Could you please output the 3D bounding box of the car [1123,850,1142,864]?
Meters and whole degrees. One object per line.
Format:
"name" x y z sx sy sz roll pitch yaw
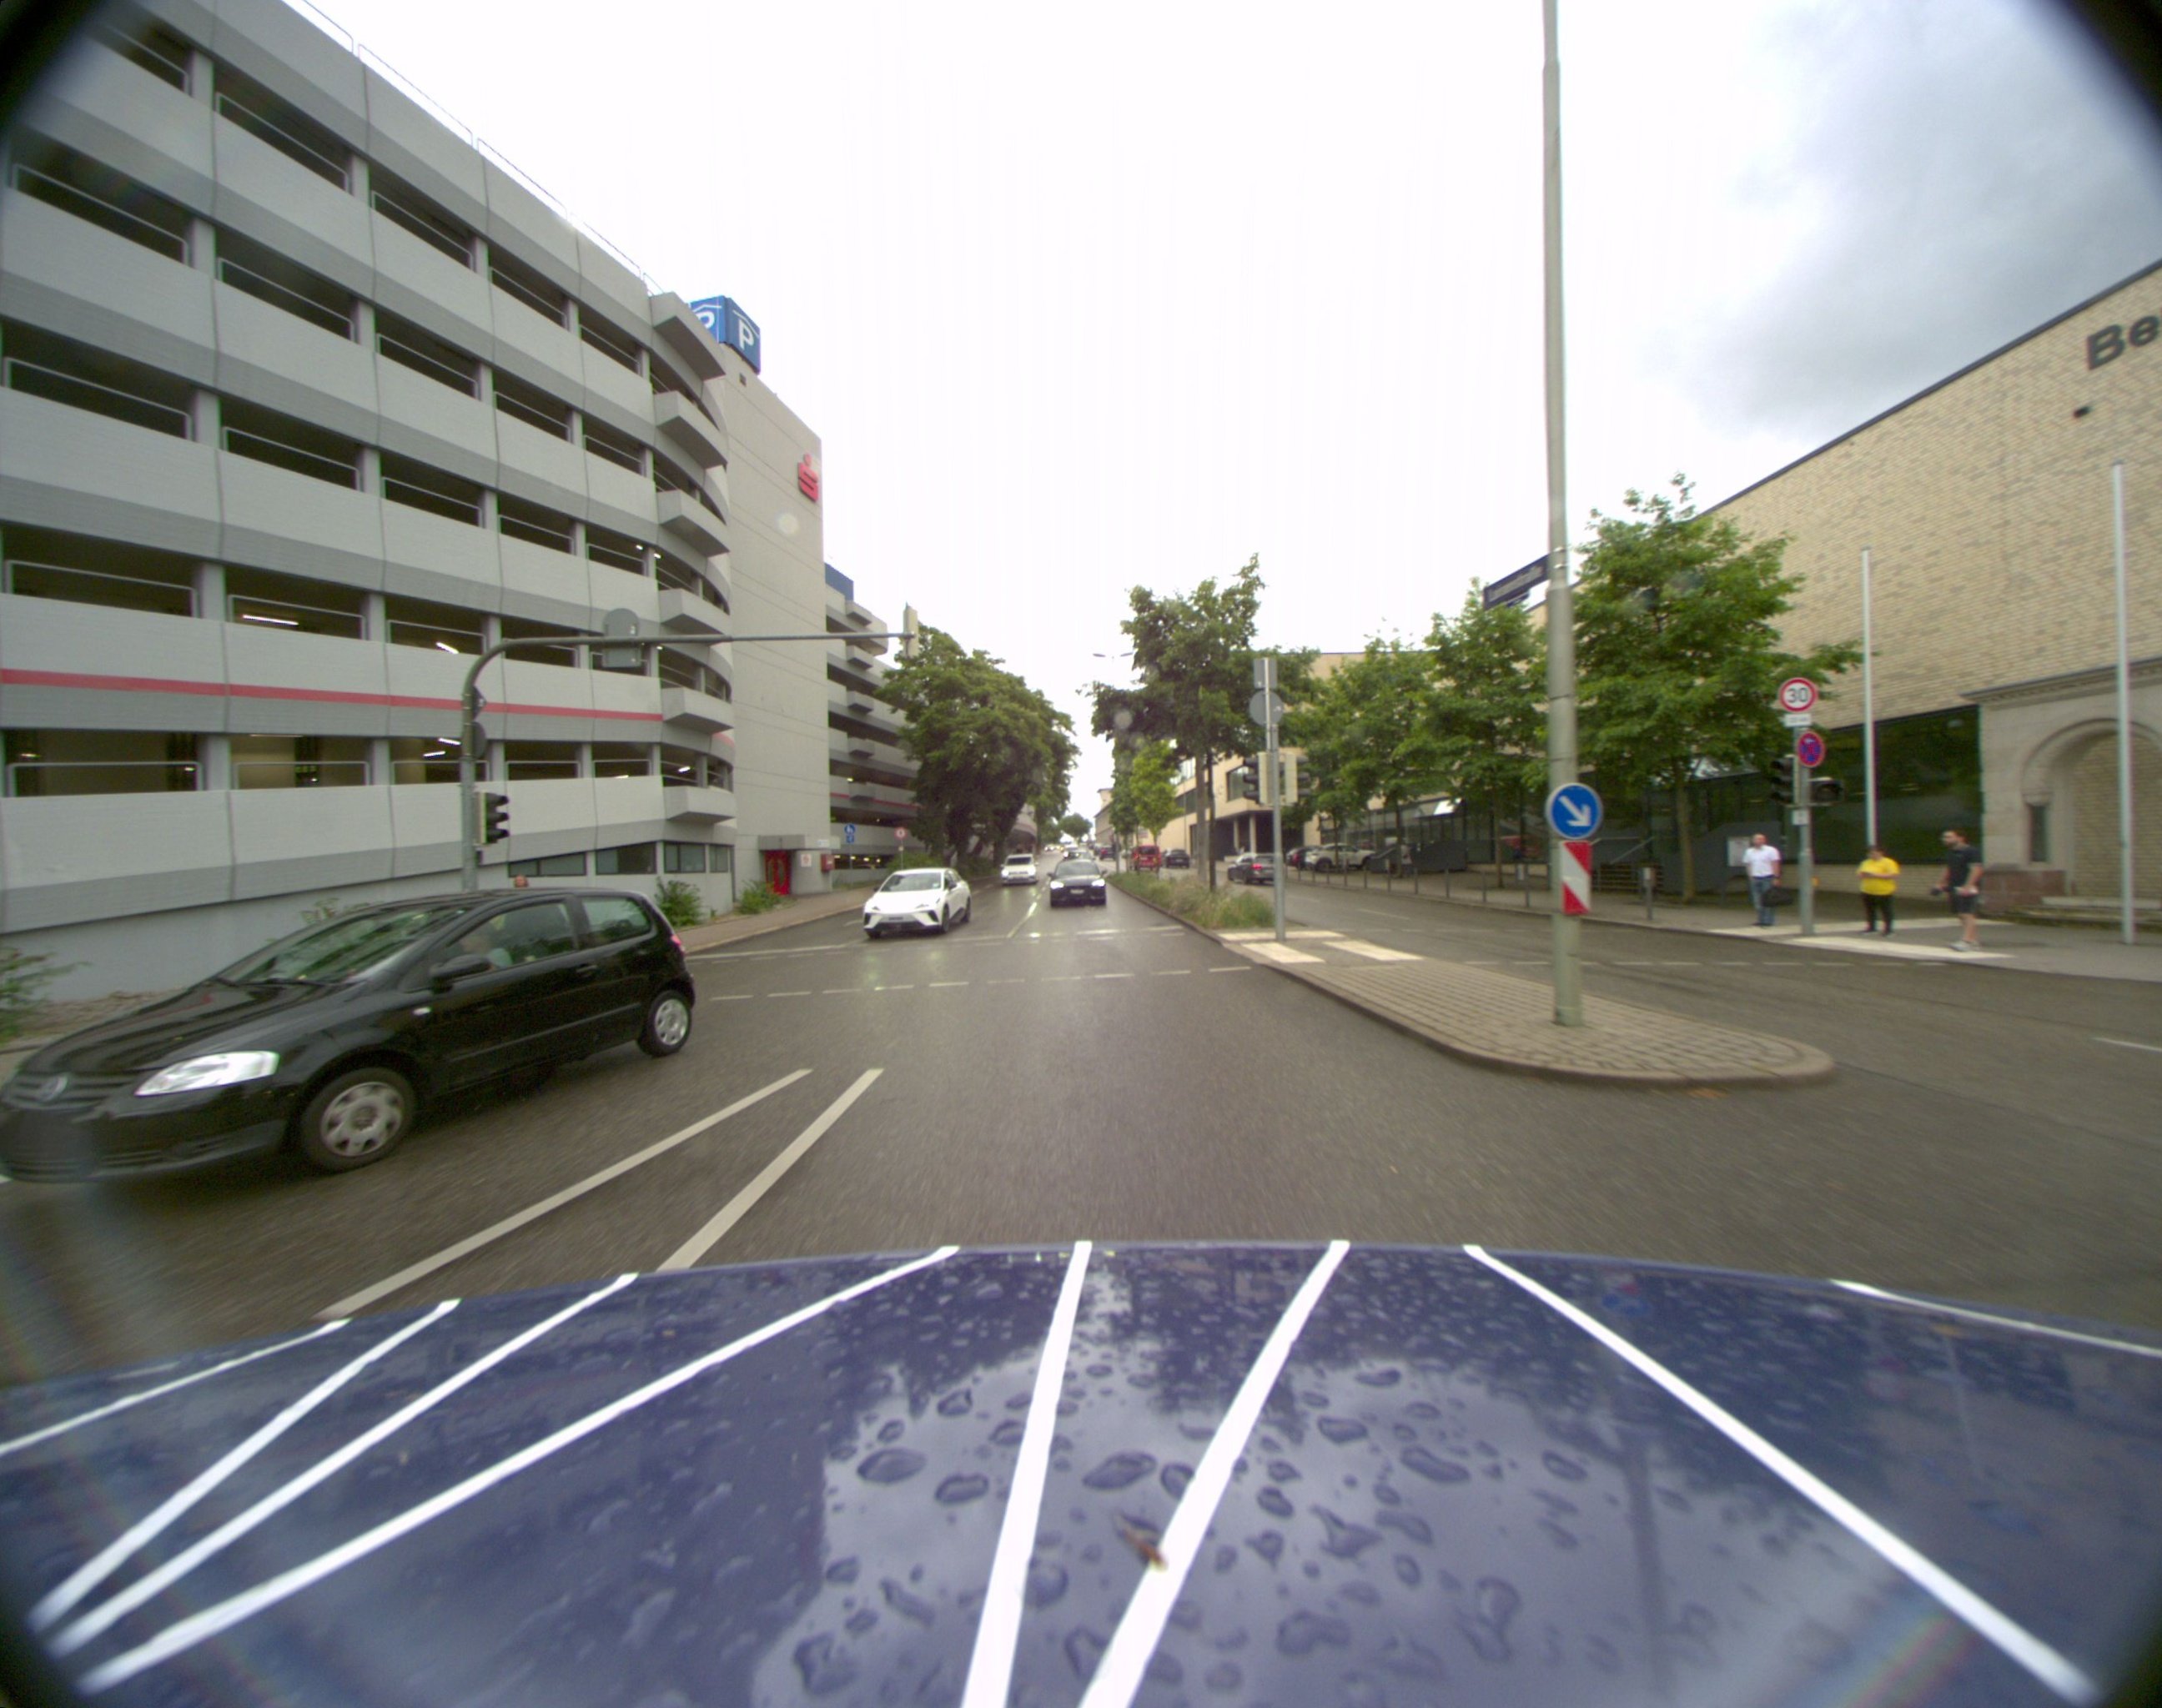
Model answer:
"car" 6.344 0.377 93.574 1.776 1.598 4.299 1 0 -3

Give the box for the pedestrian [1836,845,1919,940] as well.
"pedestrian" 13.233 0.623 12.639 0.595 1.507 0.692 -3 1 -3

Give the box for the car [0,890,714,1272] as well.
"car" -4.577 1.139 5.321 1.676 1.484 3.747 -4 0 9

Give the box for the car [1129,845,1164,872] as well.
"car" 4.628 0.306 54.297 1.855 1.841 4.299 1 0 -3

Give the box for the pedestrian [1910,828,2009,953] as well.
"pedestrian" 12.911 0.519 11.182 0.595 1.761 0.692 -3 1 -3

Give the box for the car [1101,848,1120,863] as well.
"car" 3.211 0.203 84.437 1.676 1.598 4.299 1 0 -3

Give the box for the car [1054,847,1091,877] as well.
"car" -0.562 0.475 45.646 1.847 1.647 3.998 -3 0 -6

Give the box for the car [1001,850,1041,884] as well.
"car" -3.305 0.685 41.353 1.999 1.716 4.398 -1 -1 -5

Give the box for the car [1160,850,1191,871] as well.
"car" 7.577 0.519 61.307 1.676 1.598 4.299 1 0 -3

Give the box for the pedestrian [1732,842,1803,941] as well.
"pedestrian" 12.534 0.670 13.885 0.596 1.721 0.692 -3 1 -6

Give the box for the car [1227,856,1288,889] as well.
"car" 8.312 0.822 36.170 1.676 1.461 4.299 1 0 -3

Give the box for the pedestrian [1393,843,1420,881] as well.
"pedestrian" 14.905 0.361 34.809 0.804 1.638 0.976 -3 1 5

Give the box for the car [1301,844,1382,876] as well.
"car" 15.206 0.338 44.523 3.996 1.576 2.000 -3 0 2

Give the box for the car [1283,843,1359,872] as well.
"car" 14.792 0.220 46.982 3.996 1.576 2.000 -3 0 2

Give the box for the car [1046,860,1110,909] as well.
"car" -0.192 0.948 25.605 1.739 1.380 4.580 -3 0 -4

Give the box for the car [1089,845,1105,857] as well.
"car" 2.326 -0.387 110.084 2.028 1.598 4.299 1 0 -3

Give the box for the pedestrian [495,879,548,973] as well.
"pedestrian" -10.265 1.302 13.939 0.584 1.650 0.519 1 2 16

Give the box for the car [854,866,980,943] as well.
"car" -3.818 1.131 18.508 1.804 1.469 4.210 -4 0 4

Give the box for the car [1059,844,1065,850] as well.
"car" -5.770 -2.243 230.955 1.999 1.716 4.400 -1 -1 -1

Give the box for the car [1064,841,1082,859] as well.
"car" -0.831 -0.447 83.895 1.805 1.818 3.949 -4 0 0

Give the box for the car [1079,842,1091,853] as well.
"car" 0.787 -1.206 140.938 1.855 1.841 4.299 1 0 -3
